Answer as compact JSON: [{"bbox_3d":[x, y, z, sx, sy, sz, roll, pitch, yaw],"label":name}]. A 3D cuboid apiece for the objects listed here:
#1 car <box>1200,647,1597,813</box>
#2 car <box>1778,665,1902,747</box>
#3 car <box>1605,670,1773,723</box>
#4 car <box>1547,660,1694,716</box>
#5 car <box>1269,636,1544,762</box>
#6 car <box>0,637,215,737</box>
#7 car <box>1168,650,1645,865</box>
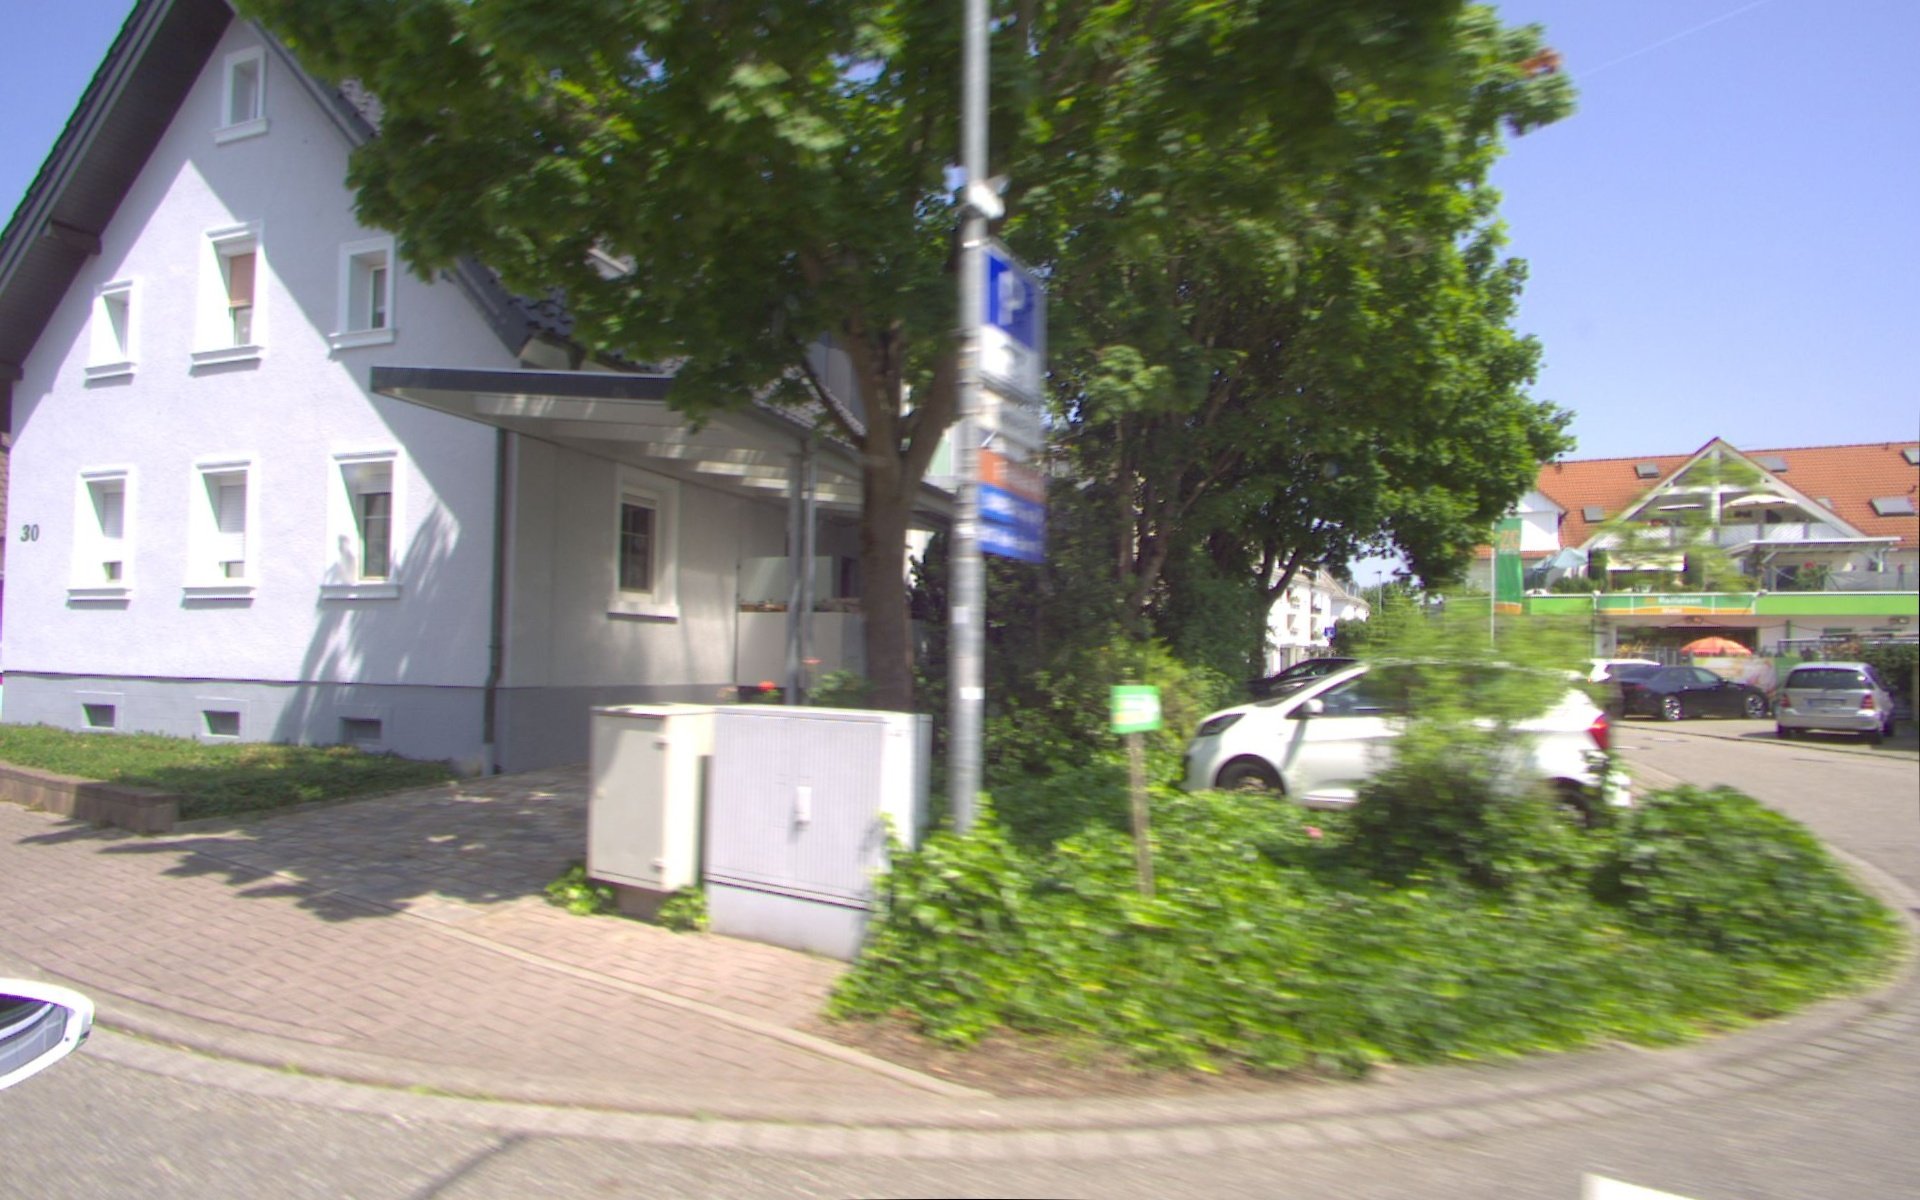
[{"bbox_3d":[4.772,1.348,11.273,3.799,1.492,1.593,1,-2,23],"label":"car"},{"bbox_3d":[18.706,2.159,21.230,4.059,1.520,1.687,3,-3,-44],"label":"car"},{"bbox_3d":[20.210,2.680,27.786,3.929,1.323,1.701,2,-2,-15],"label":"car"},{"bbox_3d":[20.425,2.717,30.987,3.931,1.620,1.701,2,-2,-18],"label":"car"},{"bbox_3d":[6.973,1.502,15.970,3.797,1.704,1.594,1,-2,21],"label":"car"},{"bbox_3d":[-13.260,1.251,15.029,1.399,1.362,3.045,-1,-3,24],"label":"car"},{"bbox_3d":[3.768,1.235,8.843,3.508,1.463,1.593,1,-2,24],"label":"car"}]
